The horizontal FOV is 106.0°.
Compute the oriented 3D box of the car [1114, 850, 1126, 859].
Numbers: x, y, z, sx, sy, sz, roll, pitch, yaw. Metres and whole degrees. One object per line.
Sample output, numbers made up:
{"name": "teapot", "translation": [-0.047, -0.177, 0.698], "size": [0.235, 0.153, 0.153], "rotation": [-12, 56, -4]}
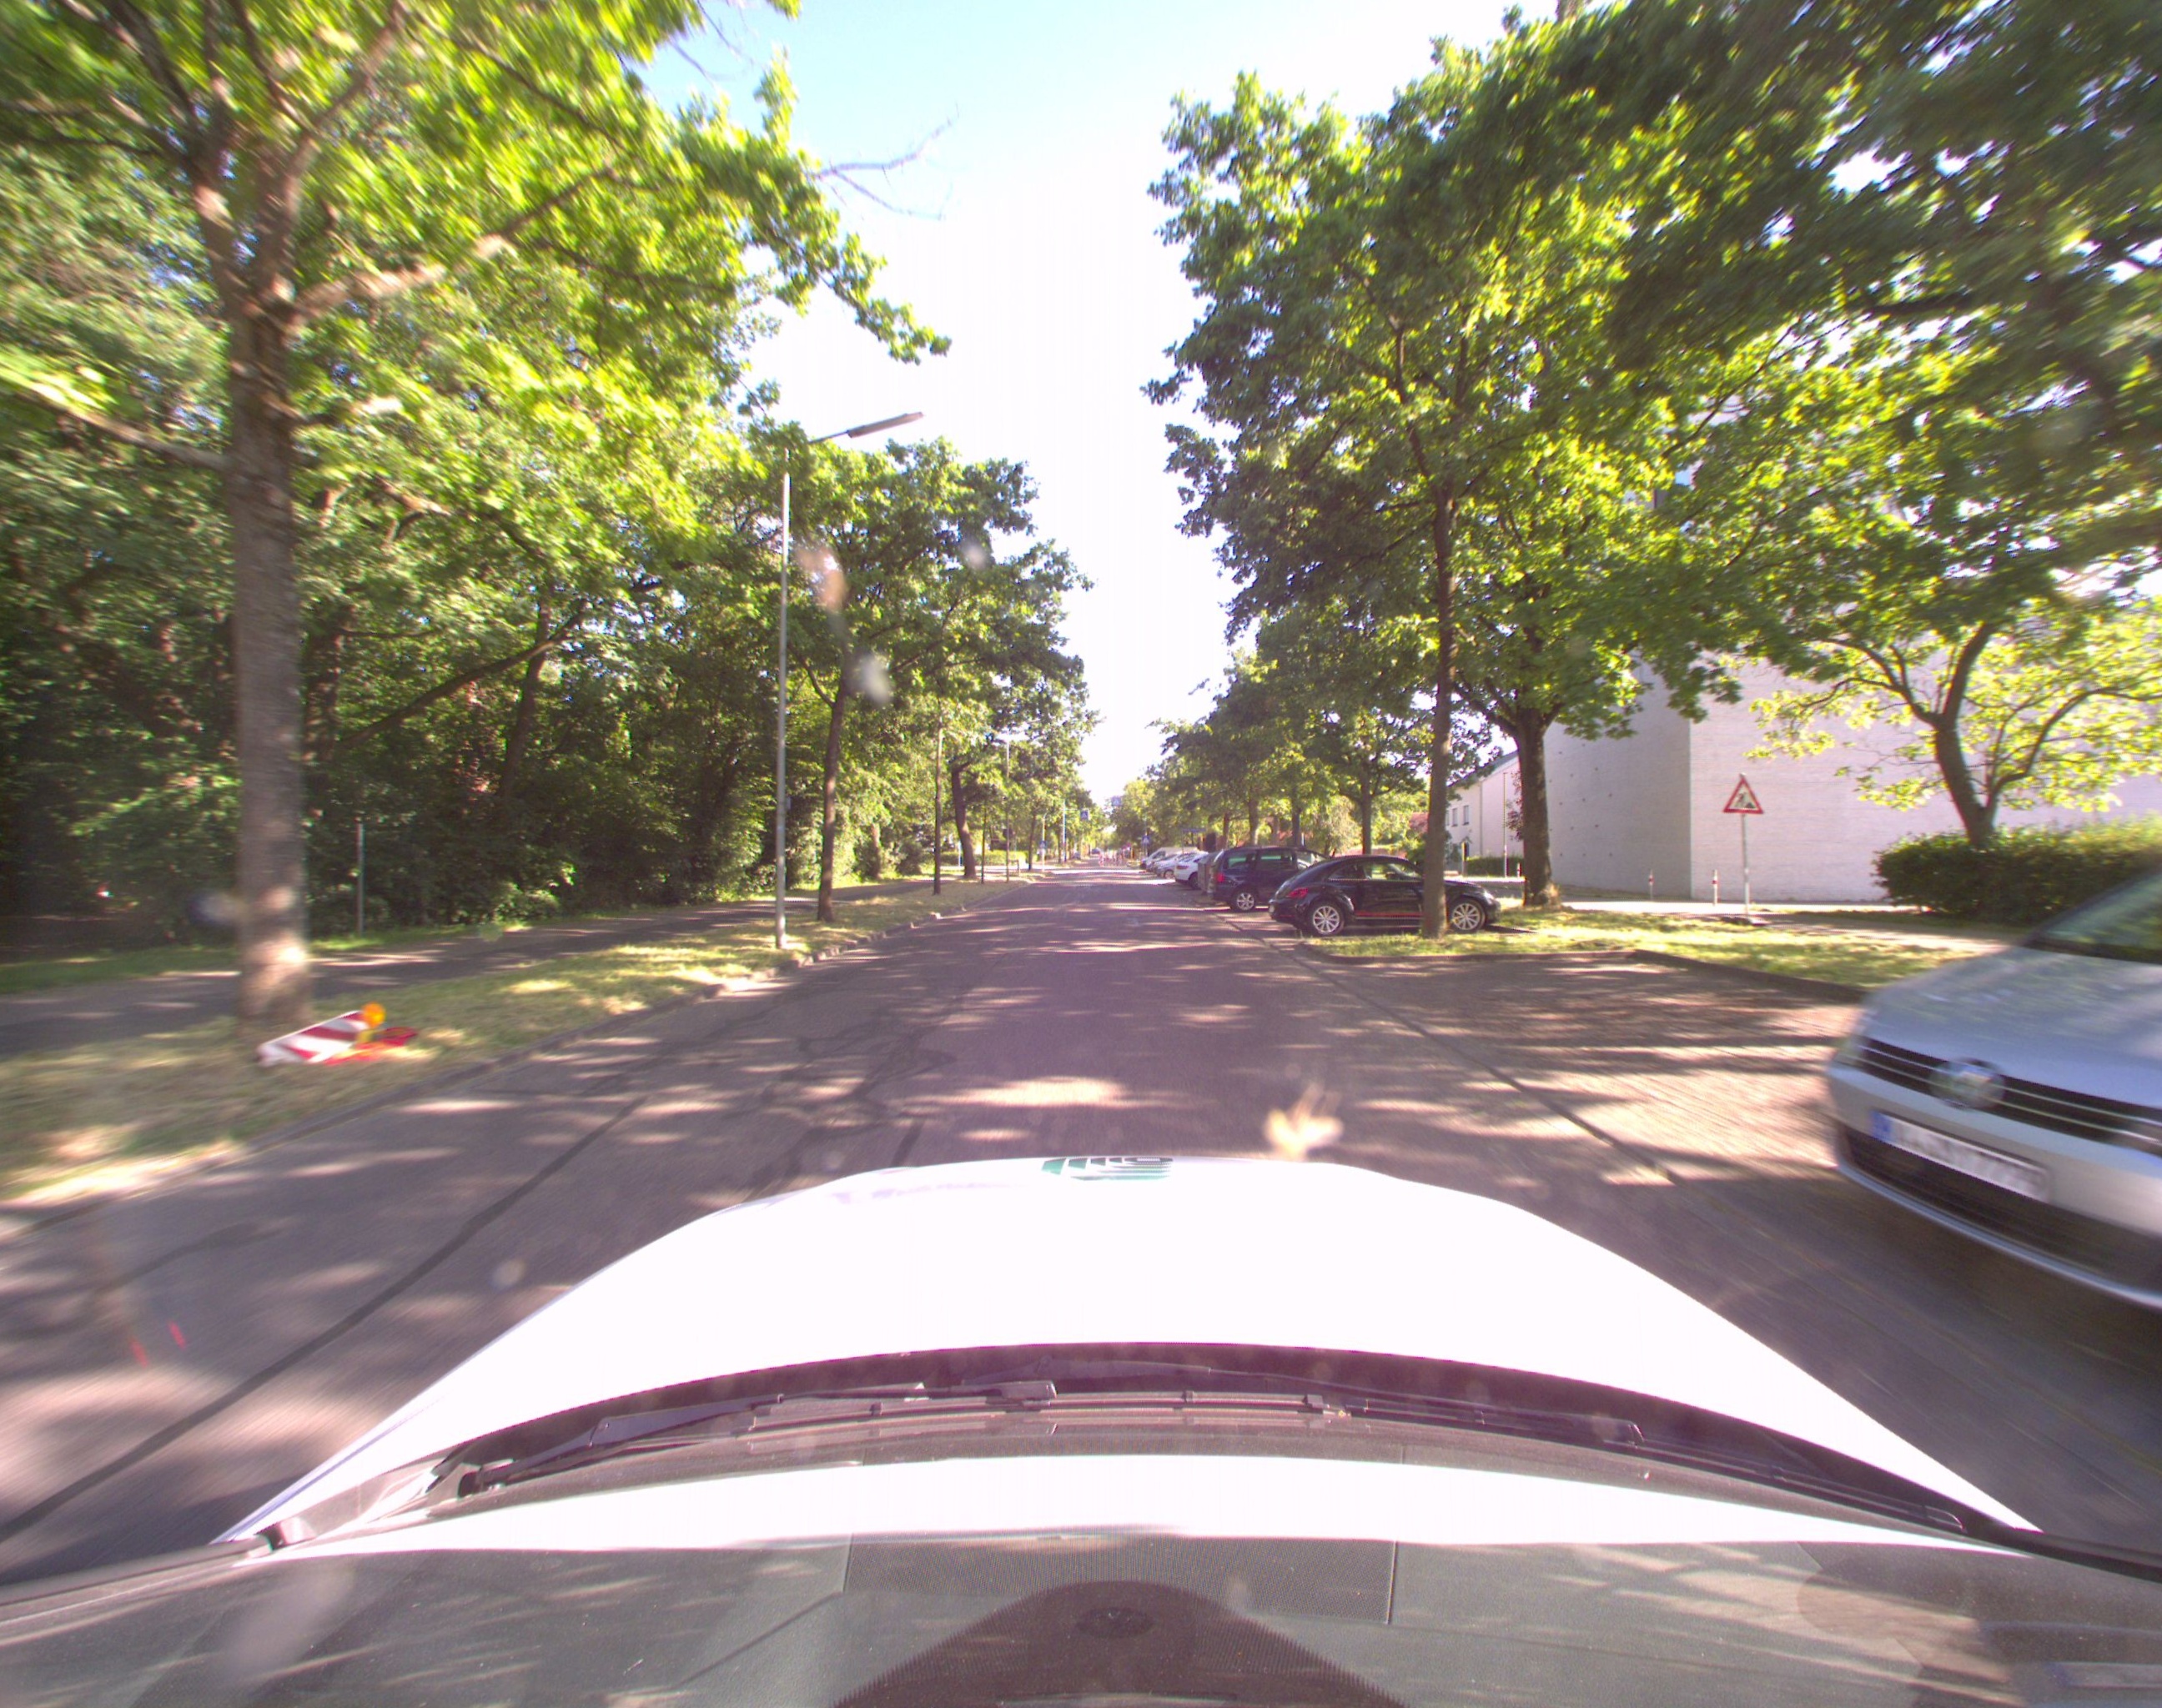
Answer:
{"name": "car", "translation": [6.989, 0.071, 146.499], "size": [1.986, 1.716, 4.001], "rotation": [0, 0, 1]}

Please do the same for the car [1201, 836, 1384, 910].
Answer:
{"name": "car", "translation": [5.662, 0.499, 22.266], "size": [4.512, 1.801, 1.937], "rotation": [-1, 0, 2]}

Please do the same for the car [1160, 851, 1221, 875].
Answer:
{"name": "car", "translation": [7.326, 0.595, 54.738], "size": [3.871, 1.497, 1.777], "rotation": [-2, 0, 1]}

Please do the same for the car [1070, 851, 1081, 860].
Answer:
{"name": "car", "translation": [-0.962, 0.215, 152.813], "size": [1.986, 1.716, 4.001], "rotation": [0, 0, 1]}

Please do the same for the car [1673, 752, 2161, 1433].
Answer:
{"name": "car", "translation": [5.060, 0.526, 2.736], "size": [4.623, 1.722, 1.989], "rotation": [-2, 0, 2]}

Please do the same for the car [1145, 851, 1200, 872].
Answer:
{"name": "car", "translation": [7.212, 0.588, 64.486], "size": [4.199, 1.568, 1.933], "rotation": [0, 0, 0]}

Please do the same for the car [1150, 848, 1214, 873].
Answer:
{"name": "car", "translation": [7.308, 0.484, 59.345], "size": [4.370, 1.651, 1.851], "rotation": [-2, 0, 0]}

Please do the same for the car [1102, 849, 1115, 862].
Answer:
{"name": "car", "translation": [4.221, 0.270, 125.528], "size": [1.986, 1.933, 4.001], "rotation": [0, 0, 1]}

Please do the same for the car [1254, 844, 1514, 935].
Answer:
{"name": "car", "translation": [5.634, 0.641, 15.627], "size": [4.228, 1.519, 2.080], "rotation": [-1, 0, 3]}

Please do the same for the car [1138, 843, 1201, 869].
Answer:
{"name": "car", "translation": [7.515, 0.189, 69.659], "size": [5.170, 2.105, 2.082], "rotation": [-1, 0, 0]}

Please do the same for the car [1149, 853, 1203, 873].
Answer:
{"name": "car", "translation": [7.199, 0.667, 61.884], "size": [3.970, 1.433, 1.902], "rotation": [0, 0, 3]}

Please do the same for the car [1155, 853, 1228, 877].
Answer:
{"name": "car", "translation": [6.960, 0.673, 51.741], "size": [4.428, 1.390, 1.912], "rotation": [-1, 0, 1]}

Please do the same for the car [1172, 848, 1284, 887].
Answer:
{"name": "car", "translation": [6.497, 0.588, 36.387], "size": [4.652, 1.580, 1.918], "rotation": [-2, 0, 2]}
